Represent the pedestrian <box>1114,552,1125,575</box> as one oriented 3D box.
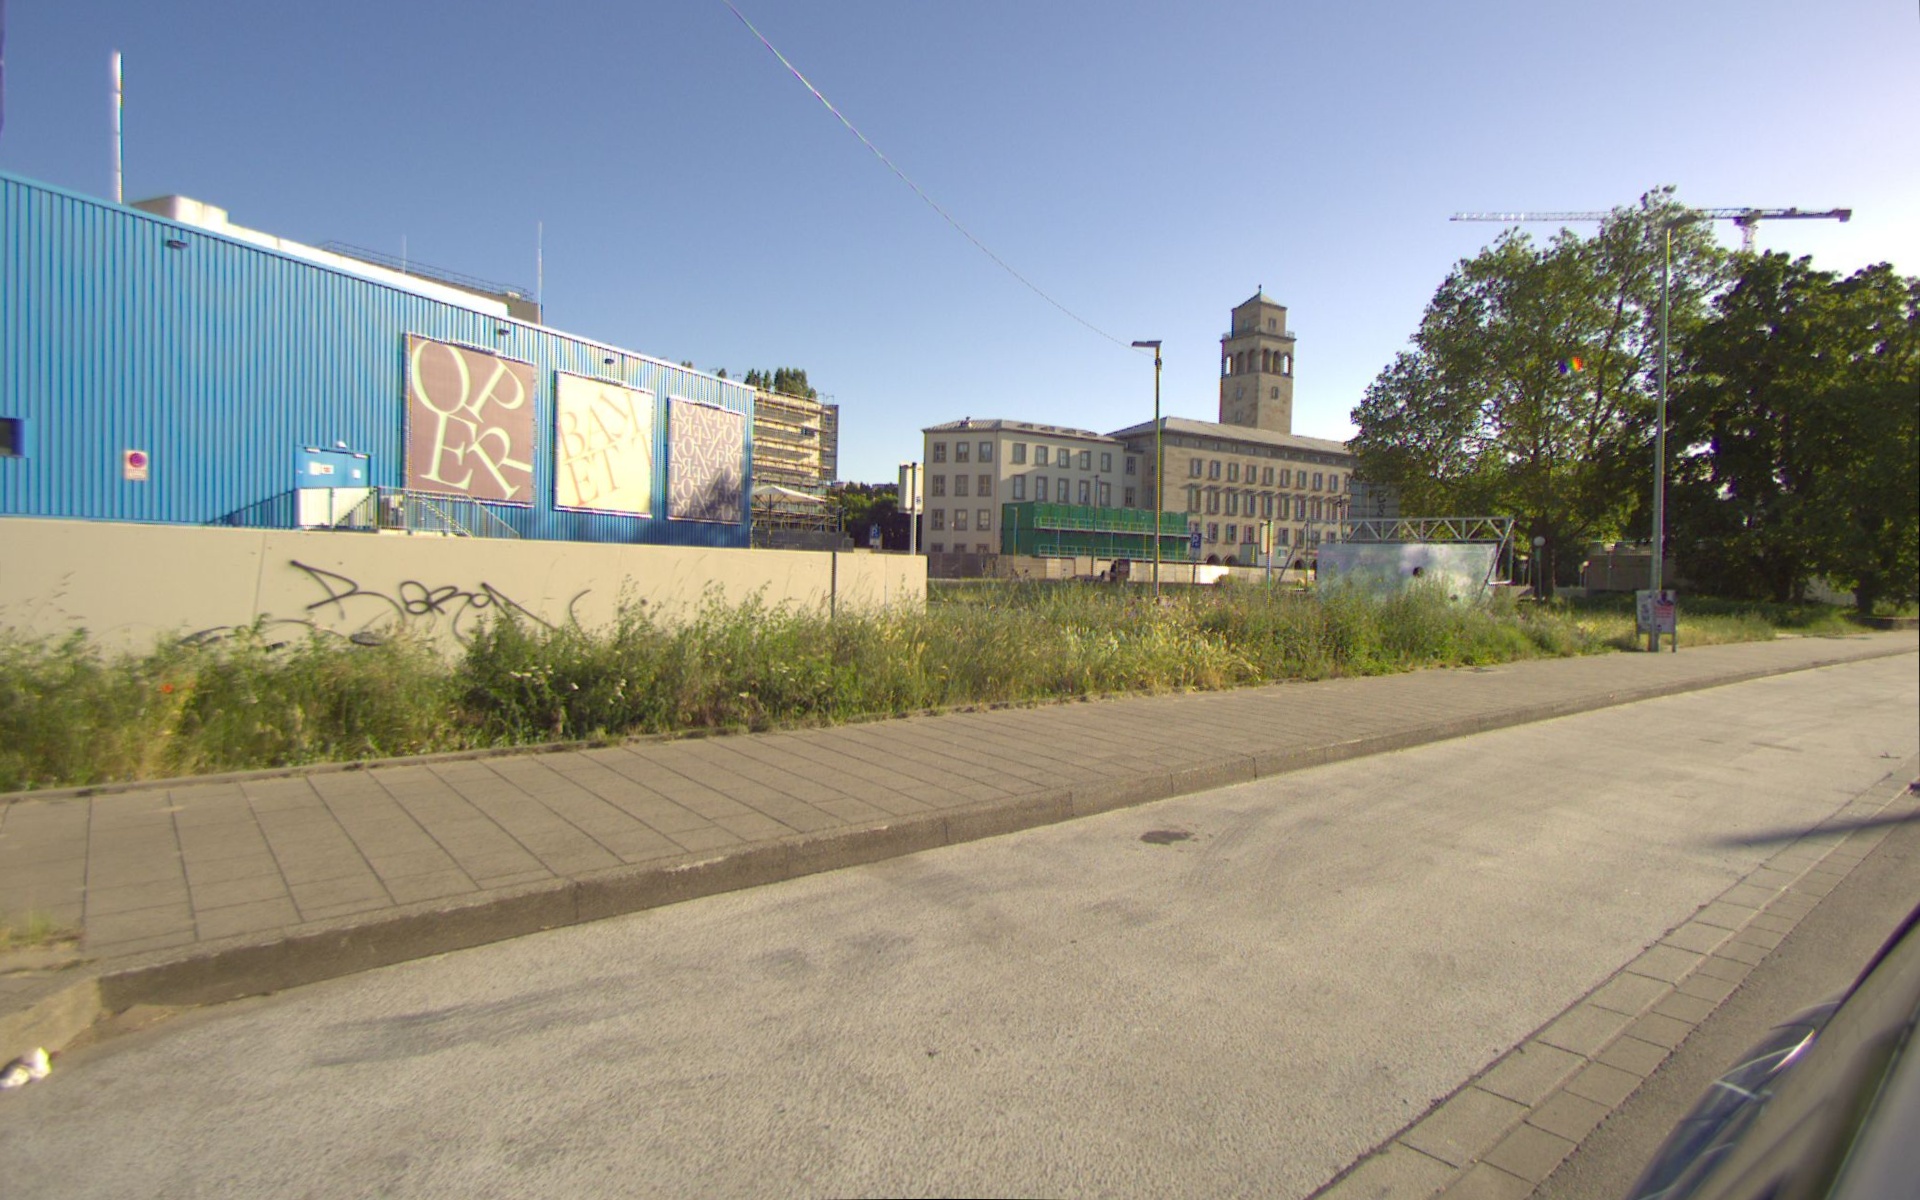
[{"bbox_3d":[9.103,-2.063,57.788,0.432,1.312,0.574,-1,0,-11],"label":"pedestrian"}]
